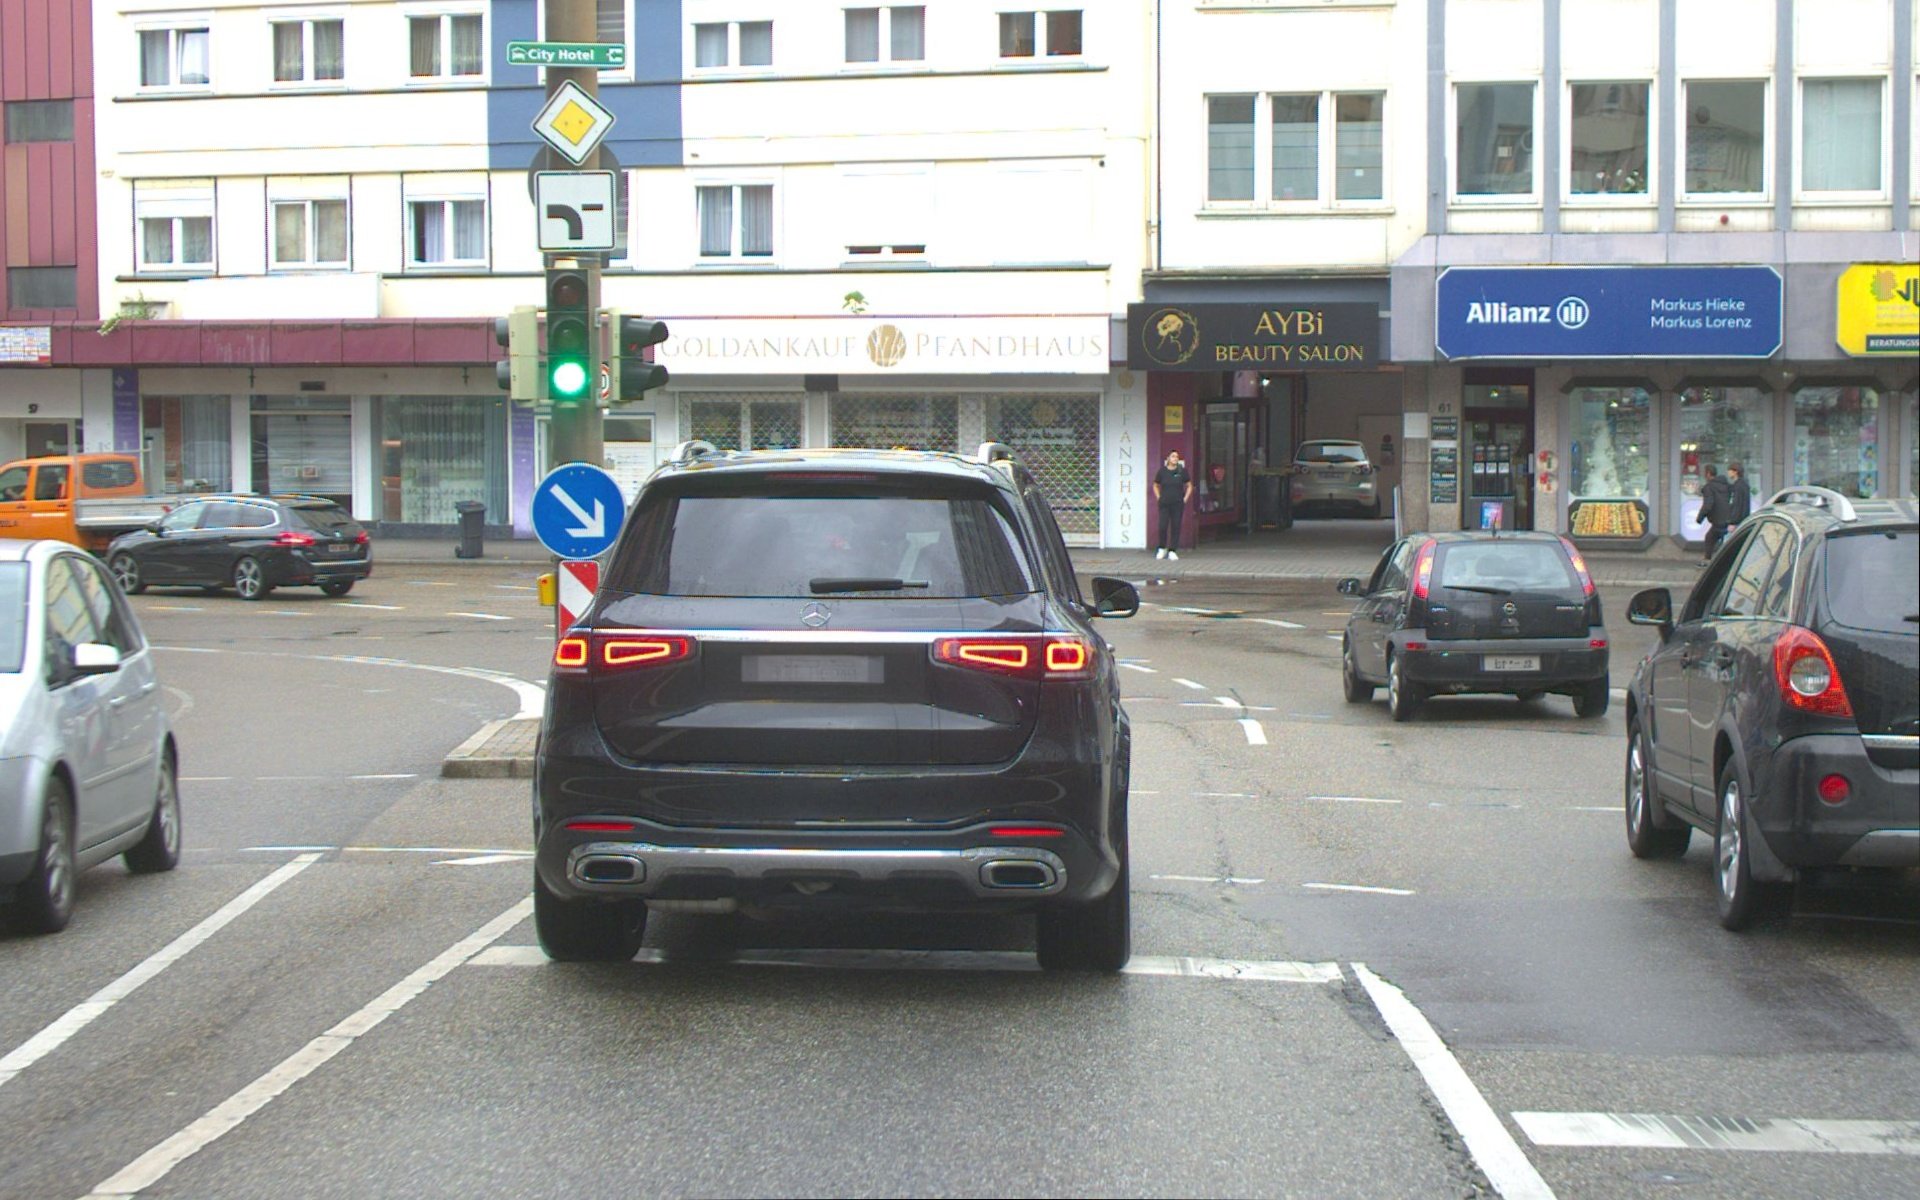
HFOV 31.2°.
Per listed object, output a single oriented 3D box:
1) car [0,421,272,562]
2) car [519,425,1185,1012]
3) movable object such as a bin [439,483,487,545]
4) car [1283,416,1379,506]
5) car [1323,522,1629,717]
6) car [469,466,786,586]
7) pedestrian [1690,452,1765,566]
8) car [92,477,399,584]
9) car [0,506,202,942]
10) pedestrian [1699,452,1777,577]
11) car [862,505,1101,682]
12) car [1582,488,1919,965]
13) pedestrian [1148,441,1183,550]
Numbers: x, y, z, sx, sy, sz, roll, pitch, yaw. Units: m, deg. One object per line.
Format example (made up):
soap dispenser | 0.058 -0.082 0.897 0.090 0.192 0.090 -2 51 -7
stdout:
car | -14.375 -1.815 57.309 5.418 2.220 2.247 2 1 26
car | -0.490 0.317 13.035 2.038 1.792 4.664 1 1 -4
movable object such as a bin | -8.375 -1.455 57.943 0.536 0.947 0.620 -8 10 -31
car | 7.237 -2.679 66.936 1.797 1.664 3.999 0 1 6
car | 3.967 0.096 27.017 1.767 1.392 4.000 -1 1 0
car | -4.919 -1.101 50.642 4.490 1.653 1.825 2 1 35
pedestrian | 11.851 -1.416 53.119 1.030 1.683 0.830 0 7 7
car | -10.364 -1.005 49.761 4.231 1.481 1.996 0 2 35
car | -4.464 0.459 14.541 1.735 1.587 4.176 -2 1 -3
pedestrian | 11.685 -1.292 51.661 1.030 1.793 0.830 0 7 7
car | 0.121 -0.111 31.806 1.873 1.489 4.401 1 1 -4
car | 3.907 0.404 14.485 1.898 1.689 4.505 1 2 3
pedestrian | 3.315 -1.691 55.412 0.564 1.683 0.756 0 7 4
